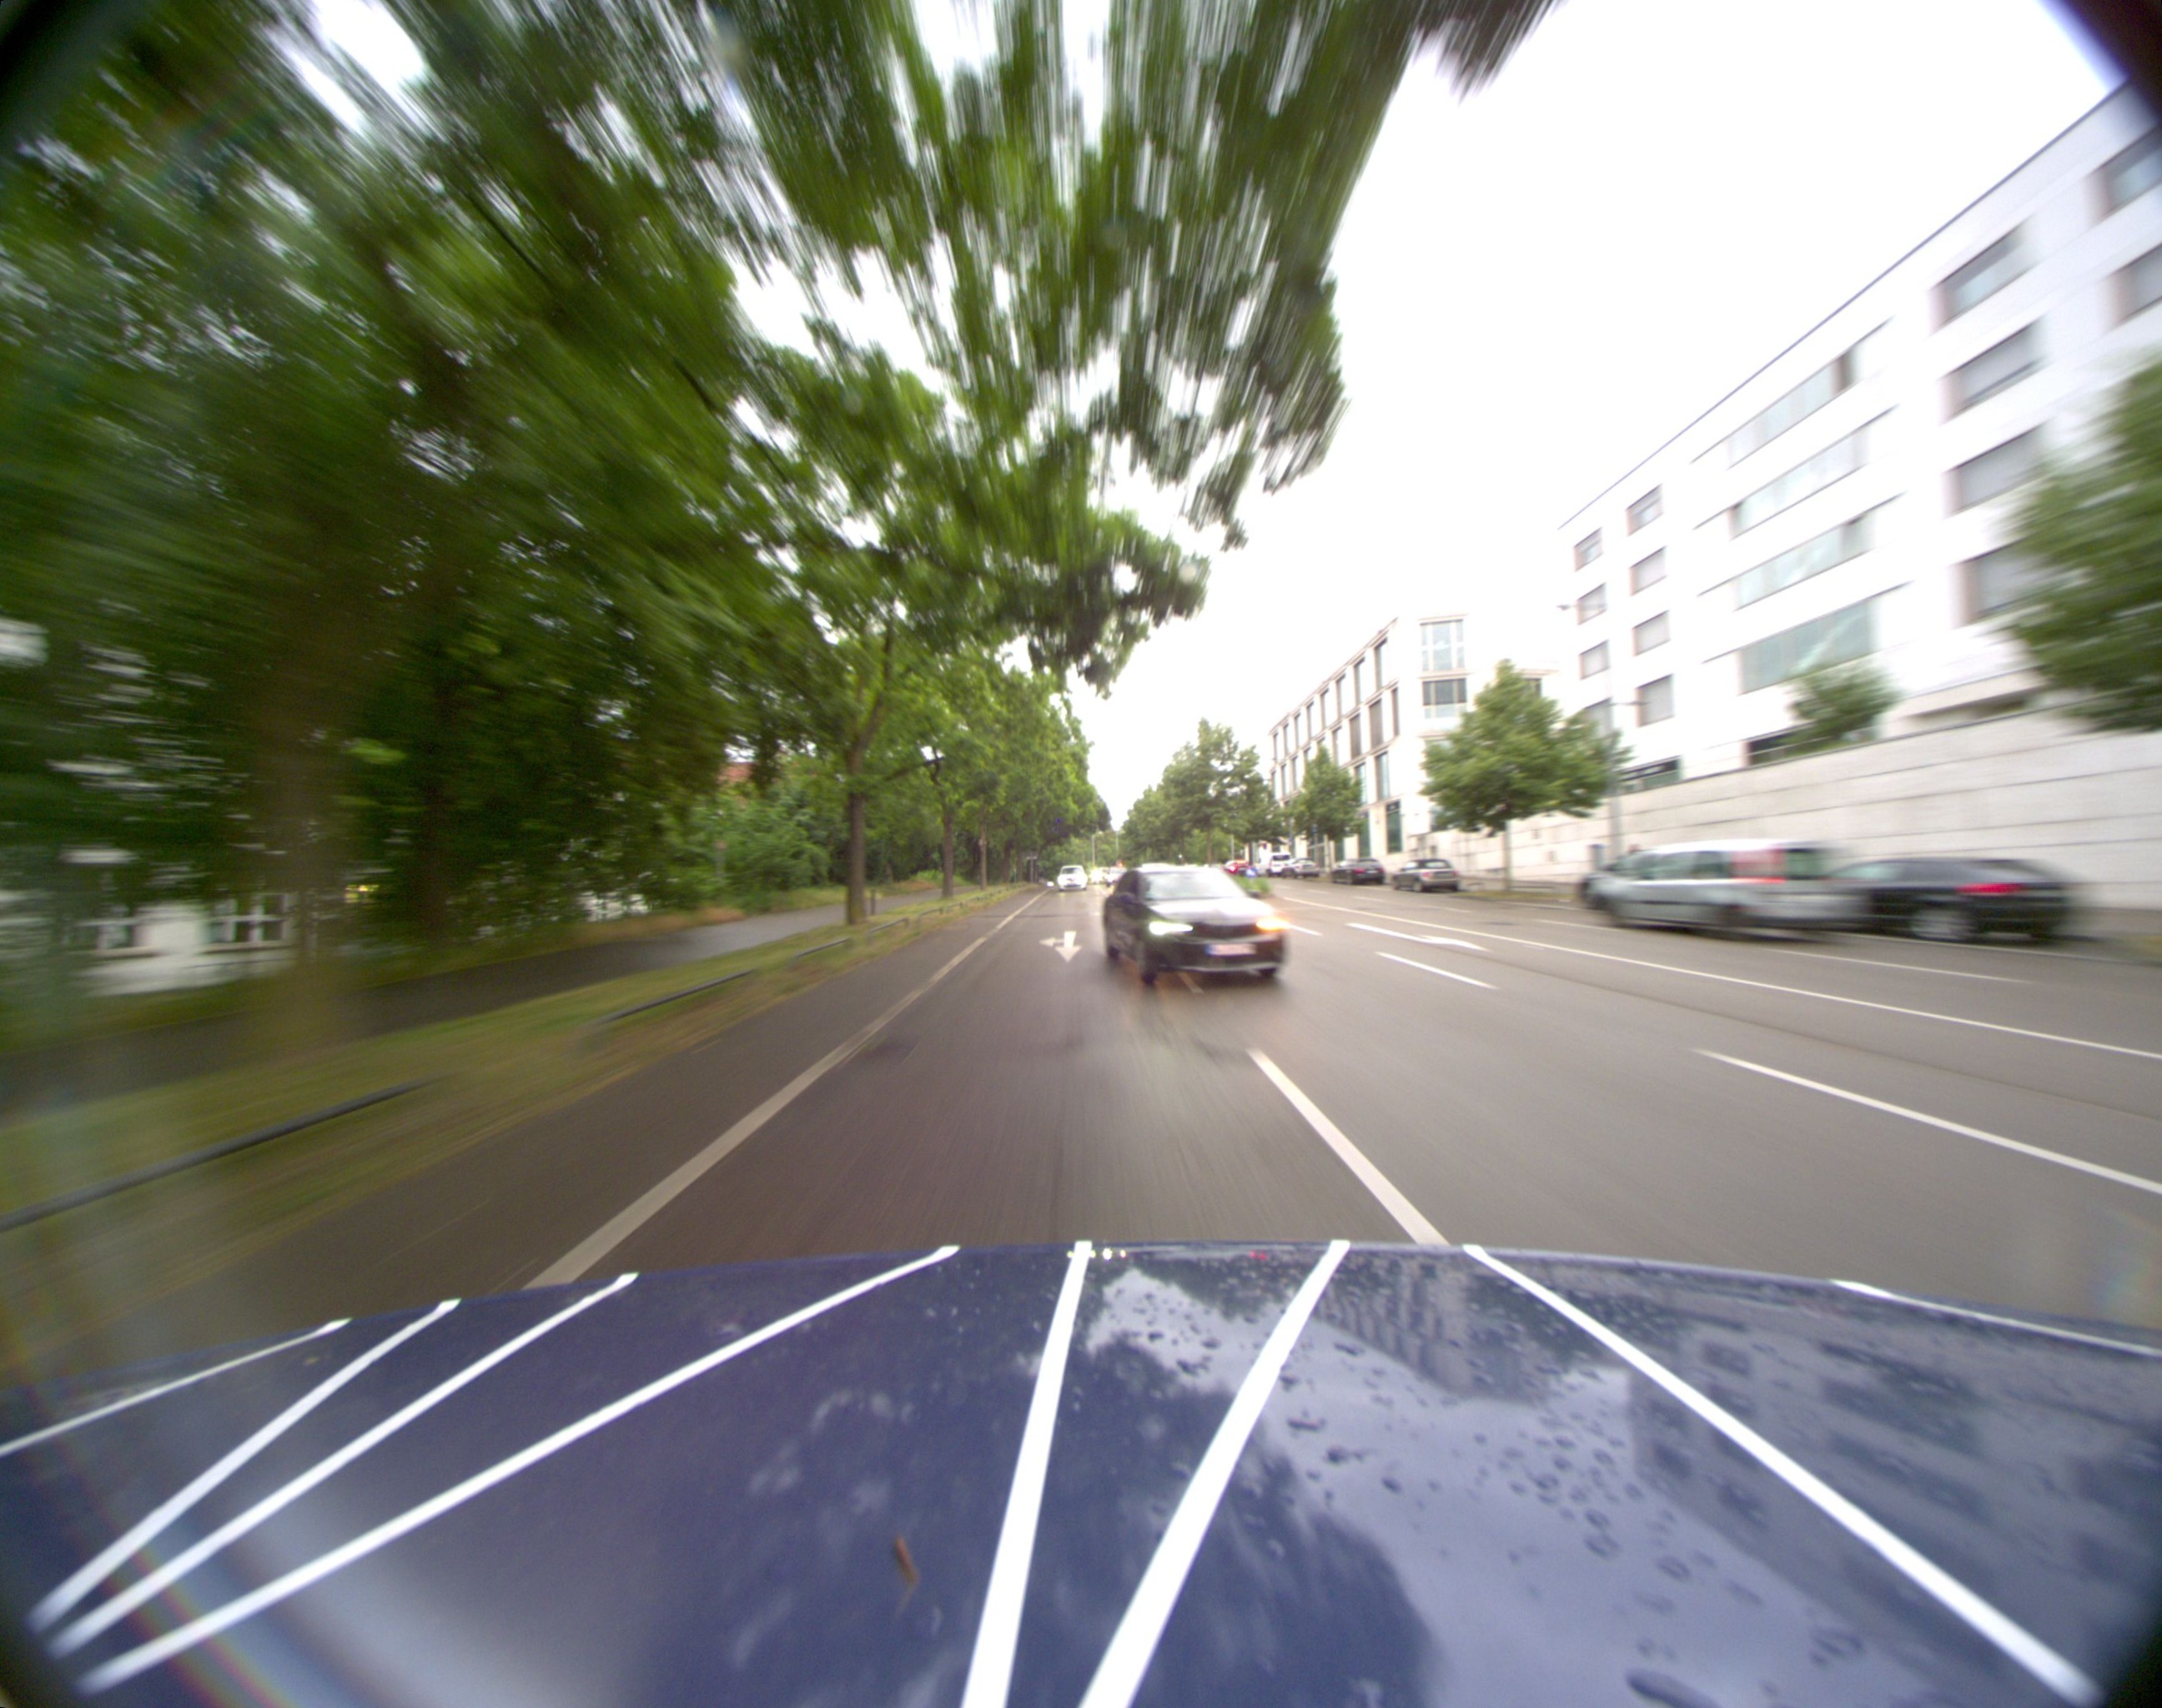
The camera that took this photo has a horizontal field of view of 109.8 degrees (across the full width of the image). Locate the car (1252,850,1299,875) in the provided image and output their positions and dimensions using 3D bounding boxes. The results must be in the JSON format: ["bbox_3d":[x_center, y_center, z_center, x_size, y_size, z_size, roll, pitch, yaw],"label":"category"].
[{"bbox_3d":[15.122,0.721,59.367,2.127,1.805,5.261,-2,-1,-1],"label":"car"}]

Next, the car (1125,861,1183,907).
[{"bbox_3d":[2.827,1.125,28.852,1.904,1.430,4.004,-6,-3,7],"label":"car"}]

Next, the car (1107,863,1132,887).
[{"bbox_3d":[2.852,1.549,55.112,1.669,1.520,3.660,-3,-3,4],"label":"car"}]

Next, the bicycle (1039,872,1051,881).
[{"bbox_3d":[-4.683,2.994,99.456,1.490,1.124,0.556,1,-2,-7],"label":"bicycle"}]

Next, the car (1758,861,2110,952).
[{"bbox_3d":[14.948,0.822,13.741,1.699,1.352,4.163,-2,-1,1],"label":"car"}]

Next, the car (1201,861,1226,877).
[{"bbox_3d":[12.480,1.469,71.744,1.645,1.402,3.998,-1,-3,0],"label":"car"}]

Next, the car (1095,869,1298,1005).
[{"bbox_3d":[1.367,0.980,10.909,1.805,1.422,4.518,-2,0,-6],"label":"car"}]

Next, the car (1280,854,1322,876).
[{"bbox_3d":[14.983,0.768,51.995,1.699,1.376,3.698,-3,-1,-1],"label":"car"}]

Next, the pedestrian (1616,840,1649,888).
[{"bbox_3d":[21.114,0.386,29.101,0.720,1.764,0.692,-2,-1,-1],"label":"pedestrian"}]

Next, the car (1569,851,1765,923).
[{"bbox_3d":[14.903,0.744,19.689,1.707,1.611,4.362,-2,0,0],"label":"car"}]

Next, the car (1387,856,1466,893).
[{"bbox_3d":[15.026,0.855,33.279,1.699,1.436,3.860,-3,-1,1],"label":"car"}]

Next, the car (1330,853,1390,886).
[{"bbox_3d":[15.002,0.795,41.065,1.699,1.572,4.017,-2,0,0],"label":"car"}]

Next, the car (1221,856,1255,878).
[{"bbox_3d":[12.259,1.029,59.472,1.699,1.572,4.017,-3,-1,0],"label":"car"}]

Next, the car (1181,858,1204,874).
[{"bbox_3d":[12.396,1.373,84.786,1.834,1.591,4.675,-2,-1,0],"label":"car"}]

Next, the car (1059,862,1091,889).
[{"bbox_3d":[-0.385,1.330,46.764,1.645,1.511,3.578,-2,-1,-5],"label":"car"}]

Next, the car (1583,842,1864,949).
[{"bbox_3d":[12.027,0.699,14.694,1.714,1.736,4.338,-1,0,-1],"label":"car"}]

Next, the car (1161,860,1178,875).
[{"bbox_3d":[12.728,1.937,109.290,1.848,1.790,4.776,-3,-4,0],"label":"car"}]
